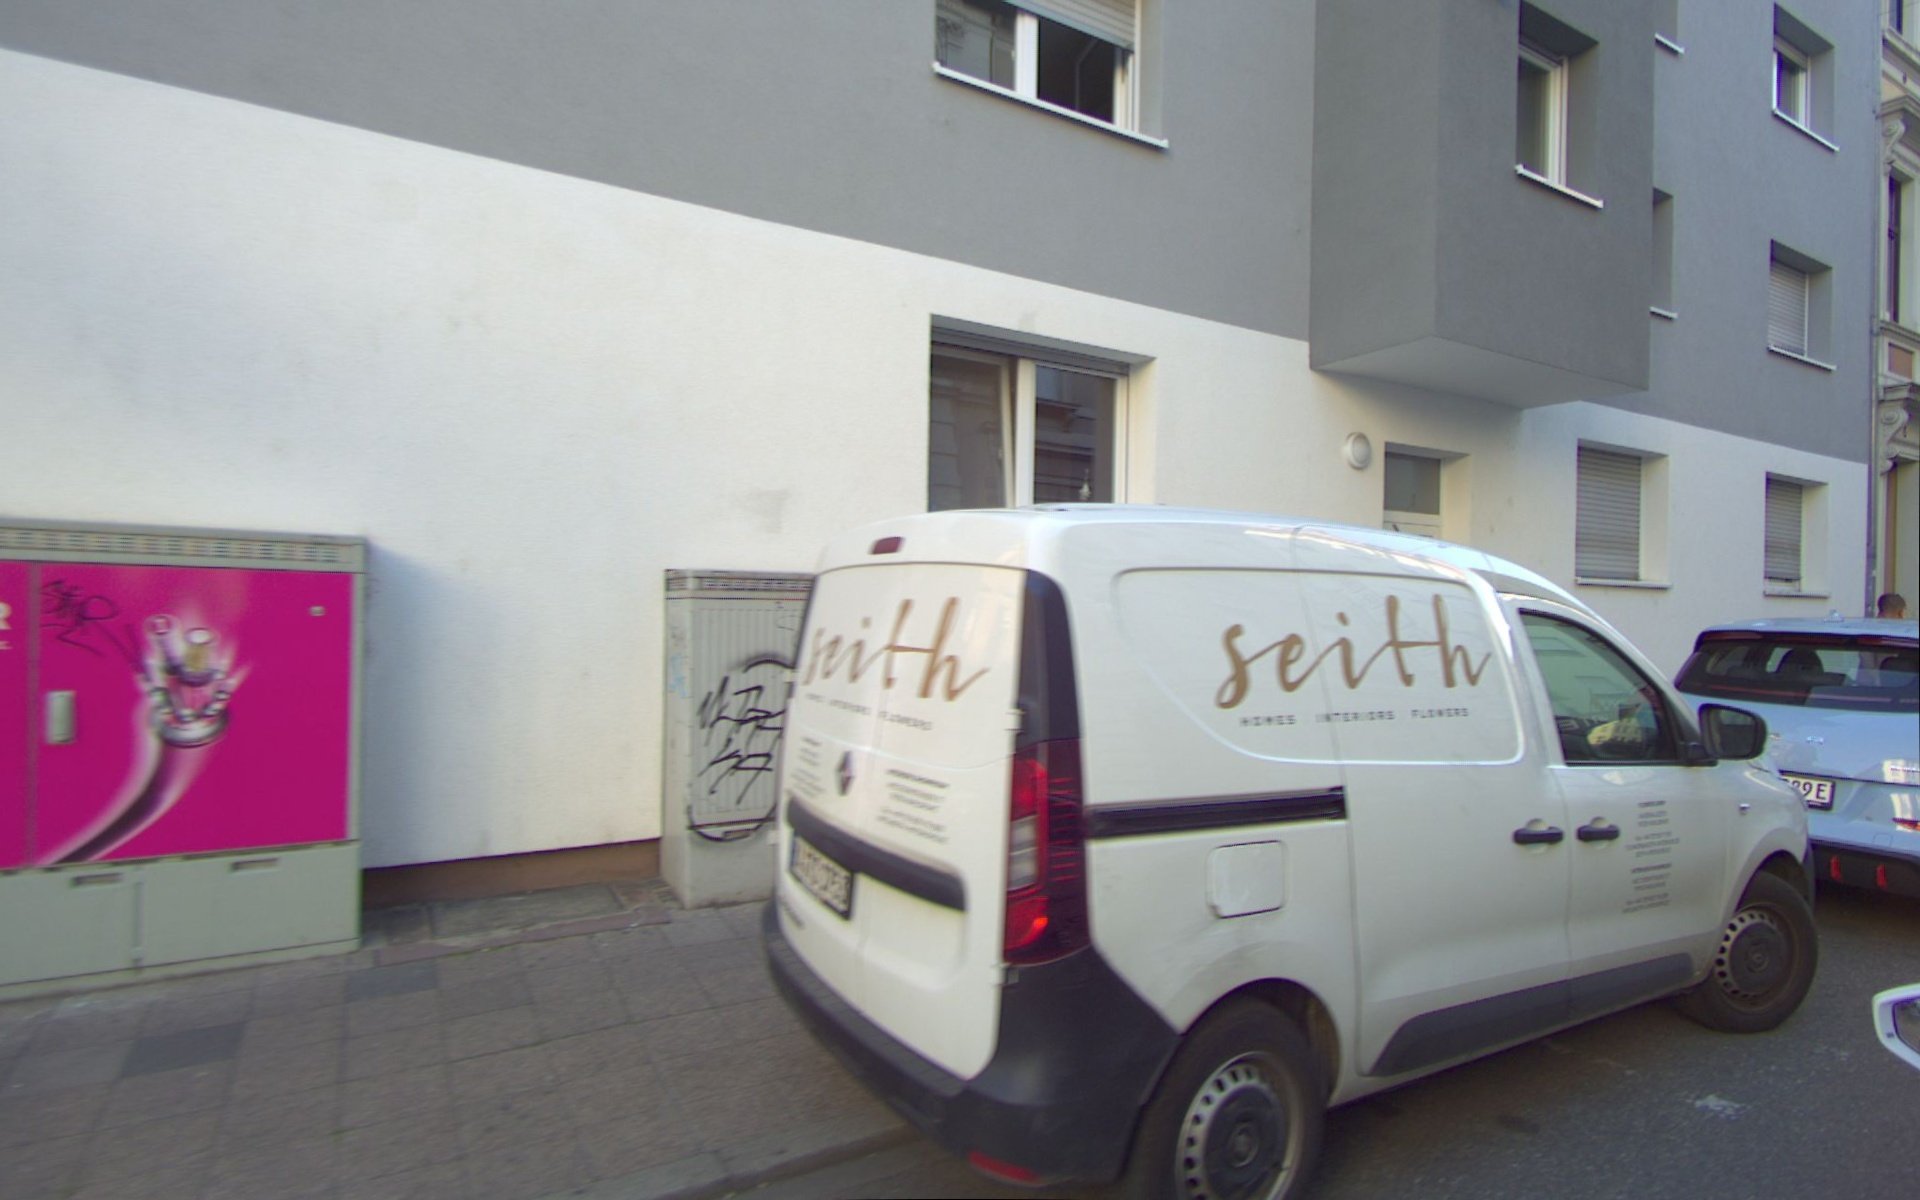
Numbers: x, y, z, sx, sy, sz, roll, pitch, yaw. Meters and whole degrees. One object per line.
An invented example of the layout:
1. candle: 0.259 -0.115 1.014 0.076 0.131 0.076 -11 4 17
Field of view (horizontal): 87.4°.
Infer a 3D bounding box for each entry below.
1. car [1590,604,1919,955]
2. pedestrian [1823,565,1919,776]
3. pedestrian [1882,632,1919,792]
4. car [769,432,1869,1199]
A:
1. car: 5.855 0.823 6.250 4.322 1.585 1.752 0 0 -35
2. pedestrian: 9.371 0.689 10.207 0.769 2.040 0.791 1 0 -40
3. pedestrian: 8.974 1.021 9.203 0.650 1.429 0.671 1 0 32
4. car: 1.542 0.613 3.726 4.137 1.838 1.622 1 0 -31
